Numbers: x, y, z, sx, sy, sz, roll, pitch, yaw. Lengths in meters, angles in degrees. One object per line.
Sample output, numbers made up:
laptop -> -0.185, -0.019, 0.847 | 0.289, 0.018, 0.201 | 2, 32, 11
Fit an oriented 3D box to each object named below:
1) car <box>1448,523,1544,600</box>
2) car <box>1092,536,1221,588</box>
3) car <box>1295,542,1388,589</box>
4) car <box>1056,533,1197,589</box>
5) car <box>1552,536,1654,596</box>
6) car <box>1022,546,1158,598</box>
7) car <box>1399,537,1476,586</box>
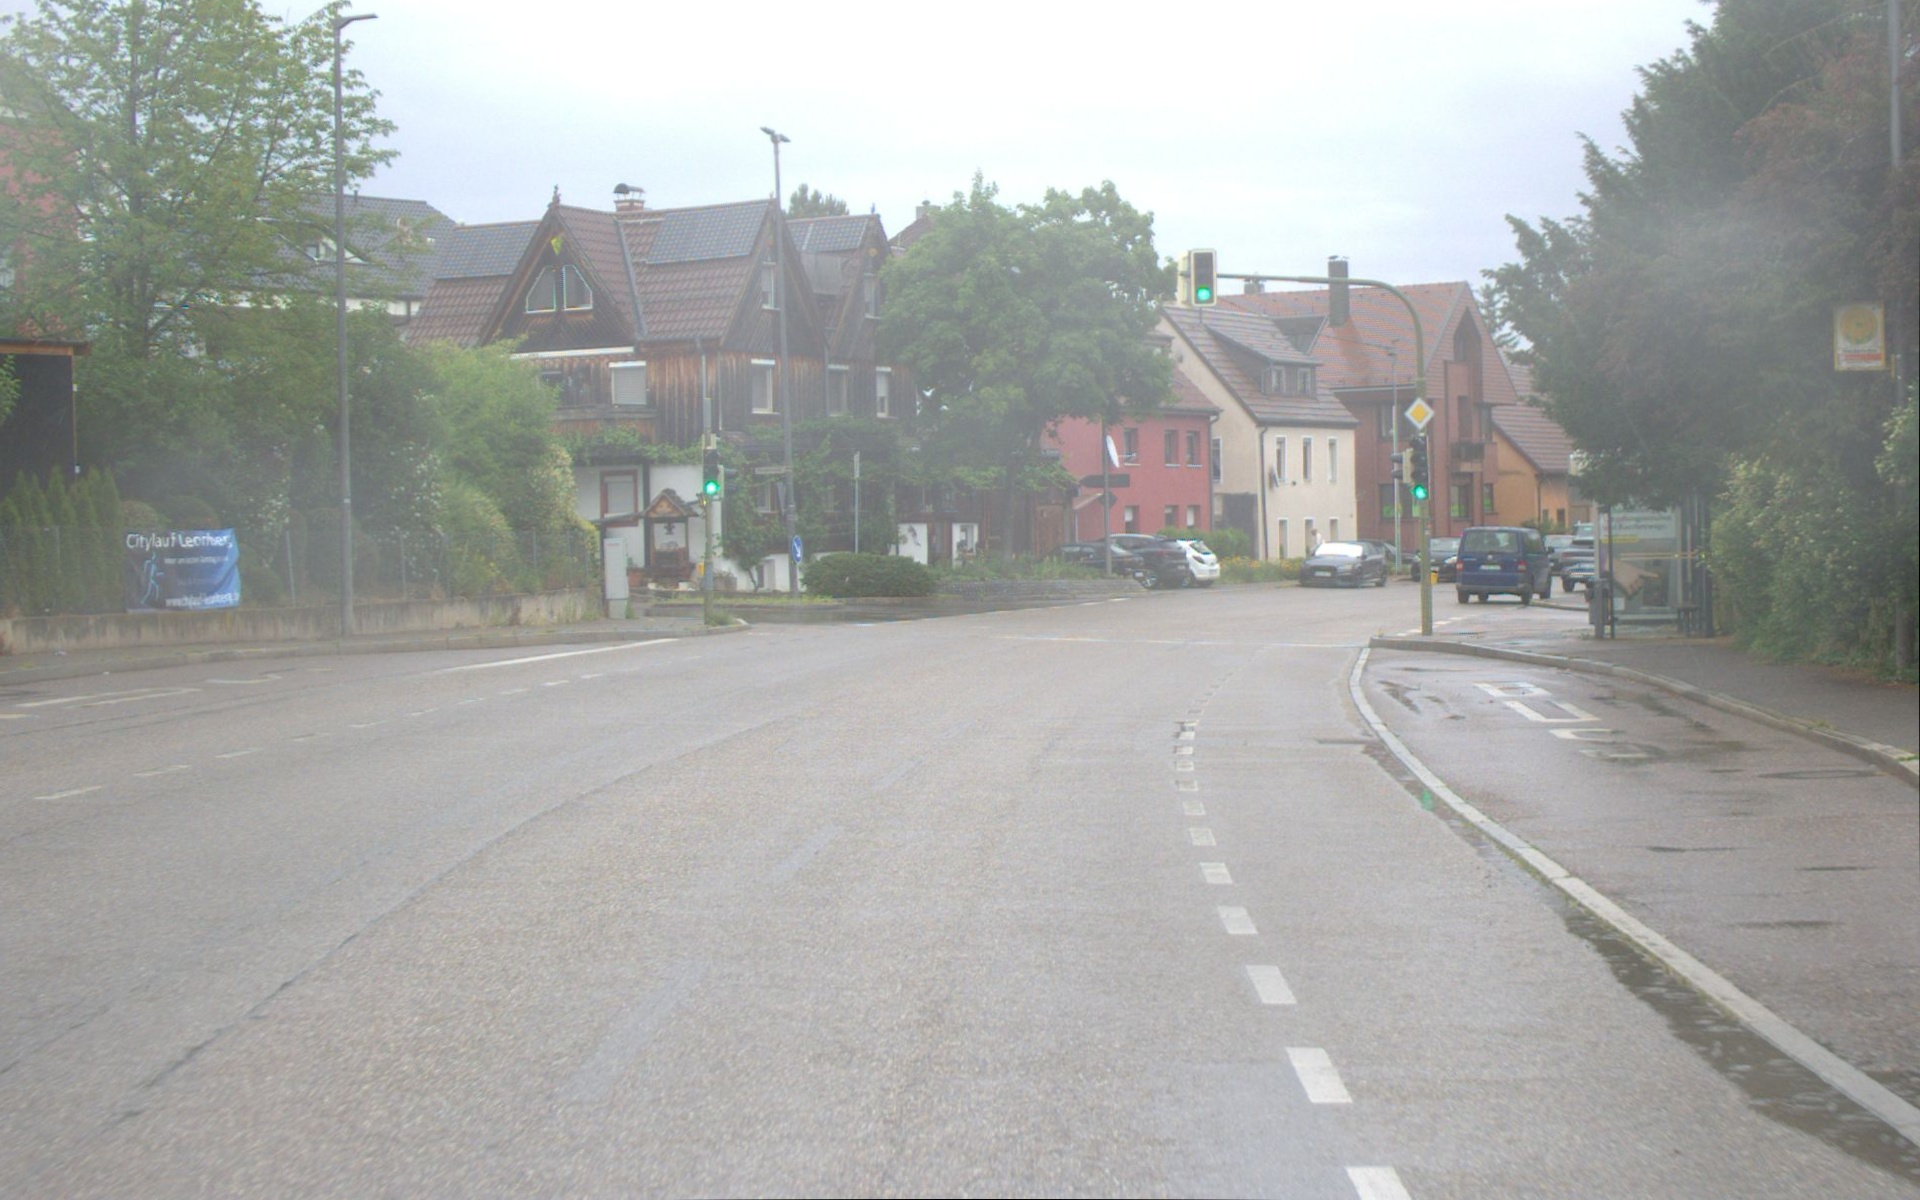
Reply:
car -> 13.876, -1.001, 88.783 | 1.932, 1.896, 4.790 | 1, 1, 15
car -> 5.814, -1.120, 101.876 | 3.466, 1.474, 1.588 | 0, 1, 27
car -> 11.662, -1.071, 104.884 | 1.629, 1.351, 4.106 | 2, 2, 24
car -> 4.791, -1.142, 99.193 | 3.581, 1.501, 1.852 | 3, 2, 29
car -> 19.360, -1.027, 103.336 | 1.911, 1.711, 4.550 | 2, 2, 25
car -> 3.674, -0.788, 96.998 | 3.451, 1.413, 1.630 | 0, 1, 27
car -> 15.896, -1.282, 114.269 | 1.607, 1.612, 3.272 | 0, 1, 25
